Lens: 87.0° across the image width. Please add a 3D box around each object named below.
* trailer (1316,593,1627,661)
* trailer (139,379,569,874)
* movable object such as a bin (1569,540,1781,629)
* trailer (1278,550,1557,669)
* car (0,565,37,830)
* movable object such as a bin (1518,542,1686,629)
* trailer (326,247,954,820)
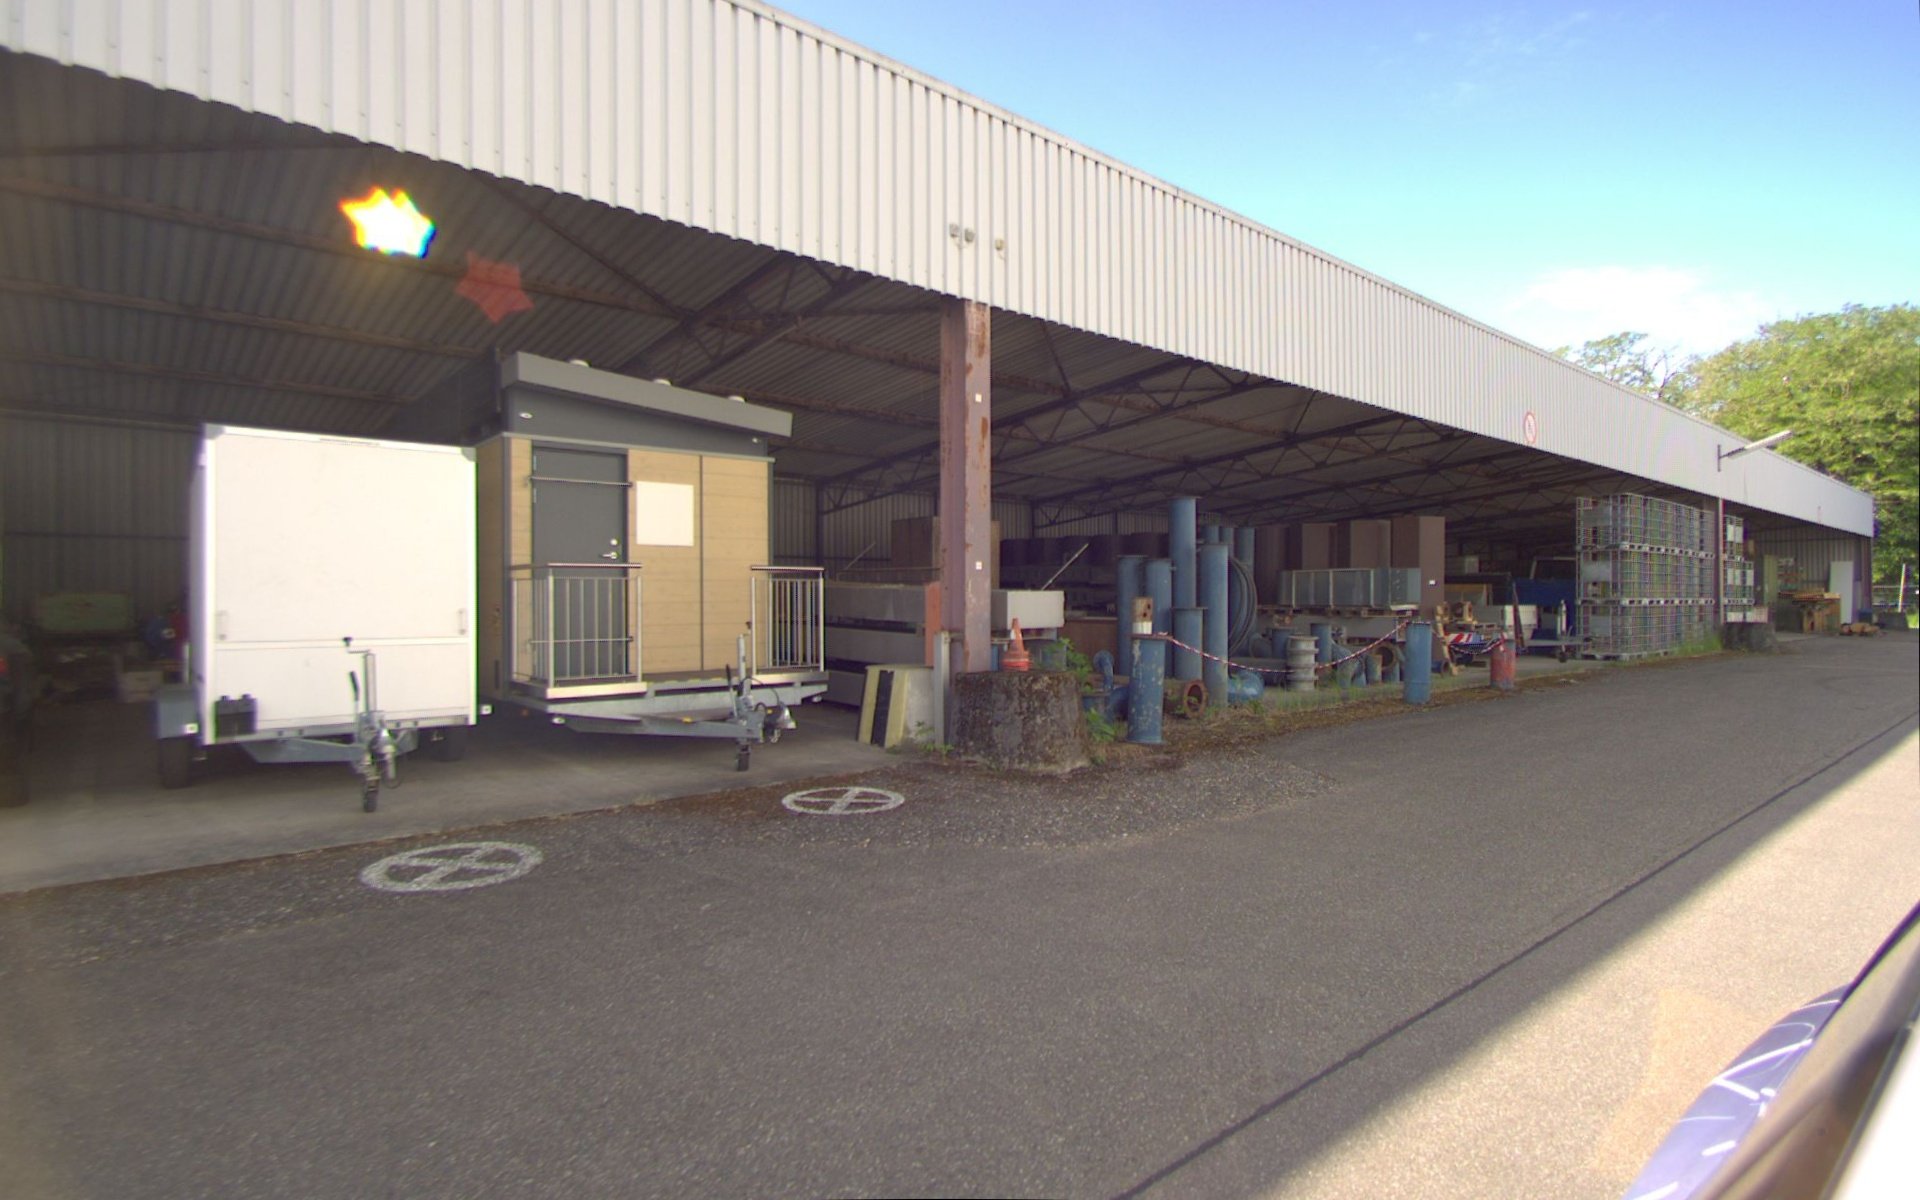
[{"bbox_3d":[10.864,0.491,21.965,1.940,1.200,5.737,-1,2,-41],"label":"trailer"},{"bbox_3d":[-4.575,0.072,7.249,2.011,2.371,4.526,-1,2,-39],"label":"trailer"},{"bbox_3d":[25.988,-0.549,36.988,2.770,2.962,5.846,0,0,-40],"label":"movable object such as a bin"},{"bbox_3d":[8.663,0.098,19.485,2.124,2.015,4.434,-1,2,-39],"label":"trailer"},{"bbox_3d":[-7.414,0.546,6.728,1.839,1.490,4.252,0,0,-43],"label":"car"},{"bbox_3d":[22.701,-0.487,35.900,2.453,2.866,4.535,0,0,-40],"label":"movable object such as a bin"},{"bbox_3d":[-4.384,-0.497,10.842,2.751,3.385,10.290,0,1,-40],"label":"trailer"}]
